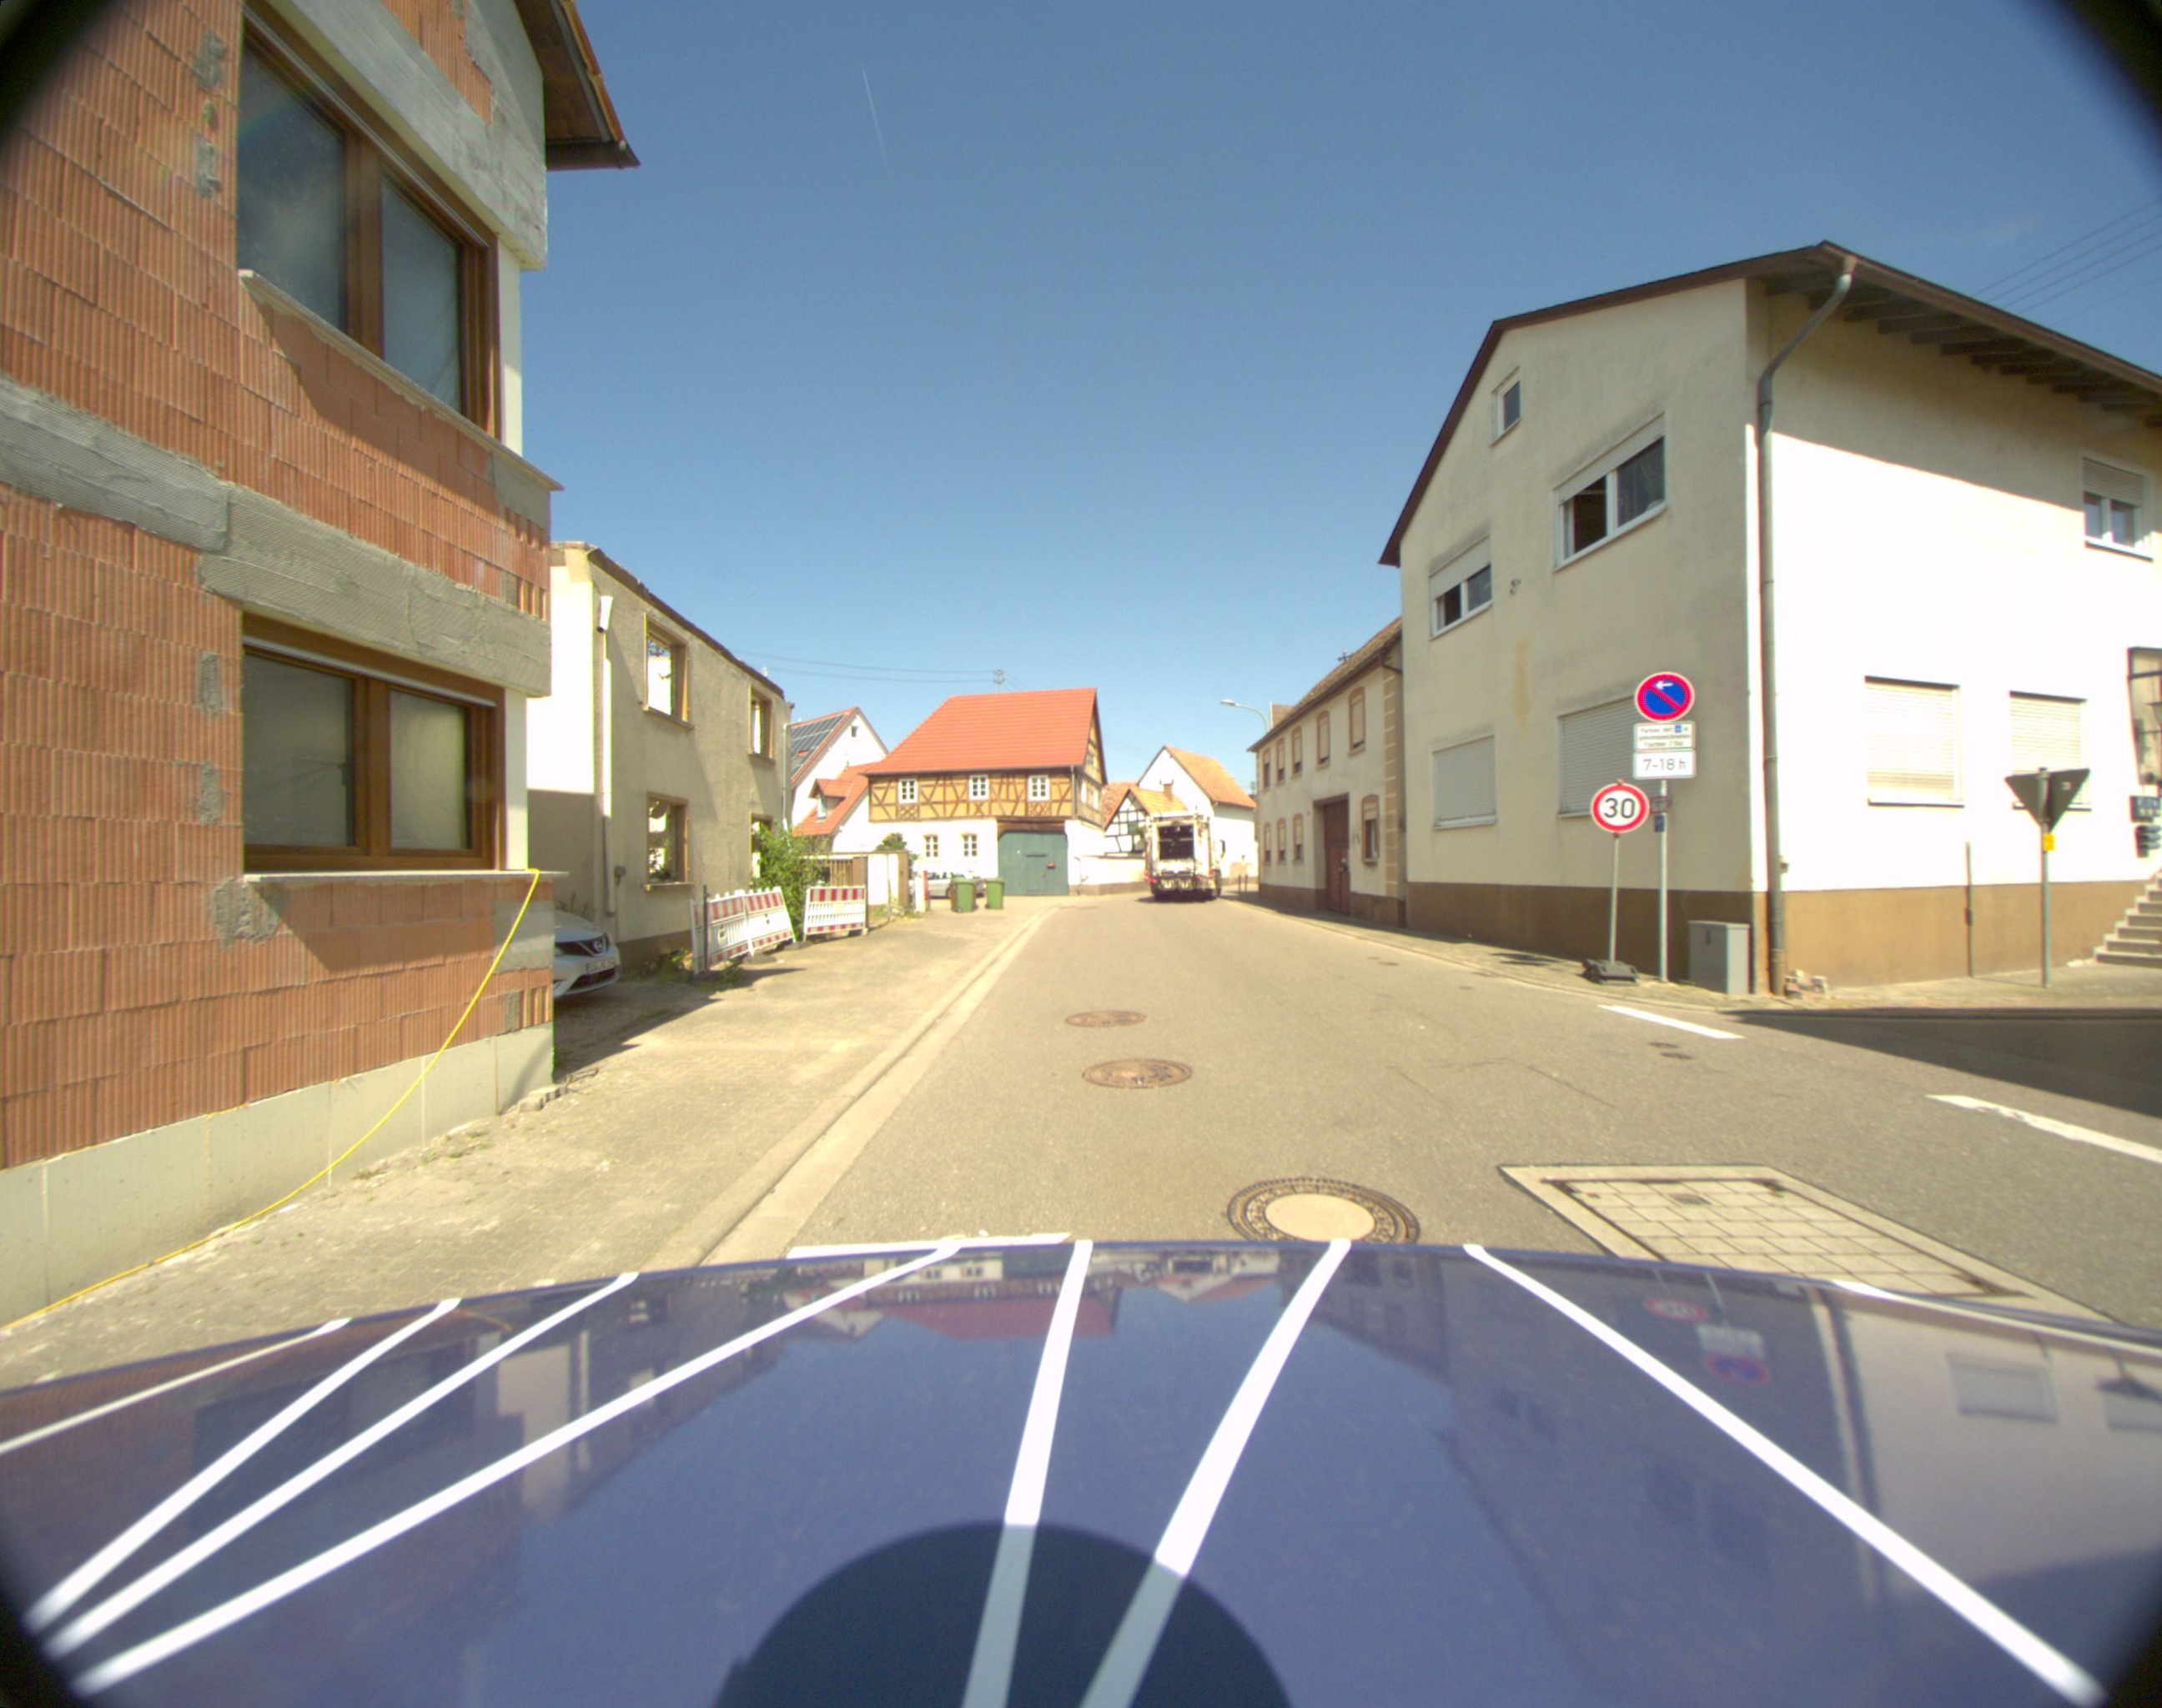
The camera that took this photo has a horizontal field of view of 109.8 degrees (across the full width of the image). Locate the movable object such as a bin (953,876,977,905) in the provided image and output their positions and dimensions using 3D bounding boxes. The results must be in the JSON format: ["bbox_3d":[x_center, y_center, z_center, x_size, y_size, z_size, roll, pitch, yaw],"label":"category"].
[{"bbox_3d":[-4.399,1.377,28.738,0.721,1.075,0.755,-1,0,5],"label":"movable object such as a bin"}]

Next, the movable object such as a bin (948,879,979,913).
[{"bbox_3d":[-3.764,1.333,24.363,0.763,1.066,0.671,0,0,-32],"label":"movable object such as a bin"}]

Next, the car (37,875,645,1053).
[{"bbox_3d":[-6.959,0.975,7.594,4.100,1.498,1.869,0,0,-4],"label":"car"}]

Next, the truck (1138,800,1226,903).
[{"bbox_3d":[4.679,-0.035,32.959,2.699,3.728,10.881,0,0,13],"label":"truck"}]

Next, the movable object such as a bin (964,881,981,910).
[{"bbox_3d":[-3.675,1.410,25.675,0.445,0.944,0.463,-1,0,9],"label":"movable object such as a bin"}]

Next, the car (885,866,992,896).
[{"bbox_3d":[-6.987,1.316,37.517,4.759,1.443,2.002,0,0,12],"label":"car"}]

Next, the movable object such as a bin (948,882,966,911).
[{"bbox_3d":[-4.172,1.425,25.638,0.466,0.964,0.496,-1,0,8],"label":"movable object such as a bin"}]

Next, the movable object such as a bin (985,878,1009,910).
[{"bbox_3d":[-2.938,1.380,26.546,0.688,1.085,0.638,-1,0,9],"label":"movable object such as a bin"}]

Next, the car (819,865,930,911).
[{"bbox_3d":[-7.206,1.149,27.030,1.813,1.519,4.302,0,-1,16],"label":"car"}]
